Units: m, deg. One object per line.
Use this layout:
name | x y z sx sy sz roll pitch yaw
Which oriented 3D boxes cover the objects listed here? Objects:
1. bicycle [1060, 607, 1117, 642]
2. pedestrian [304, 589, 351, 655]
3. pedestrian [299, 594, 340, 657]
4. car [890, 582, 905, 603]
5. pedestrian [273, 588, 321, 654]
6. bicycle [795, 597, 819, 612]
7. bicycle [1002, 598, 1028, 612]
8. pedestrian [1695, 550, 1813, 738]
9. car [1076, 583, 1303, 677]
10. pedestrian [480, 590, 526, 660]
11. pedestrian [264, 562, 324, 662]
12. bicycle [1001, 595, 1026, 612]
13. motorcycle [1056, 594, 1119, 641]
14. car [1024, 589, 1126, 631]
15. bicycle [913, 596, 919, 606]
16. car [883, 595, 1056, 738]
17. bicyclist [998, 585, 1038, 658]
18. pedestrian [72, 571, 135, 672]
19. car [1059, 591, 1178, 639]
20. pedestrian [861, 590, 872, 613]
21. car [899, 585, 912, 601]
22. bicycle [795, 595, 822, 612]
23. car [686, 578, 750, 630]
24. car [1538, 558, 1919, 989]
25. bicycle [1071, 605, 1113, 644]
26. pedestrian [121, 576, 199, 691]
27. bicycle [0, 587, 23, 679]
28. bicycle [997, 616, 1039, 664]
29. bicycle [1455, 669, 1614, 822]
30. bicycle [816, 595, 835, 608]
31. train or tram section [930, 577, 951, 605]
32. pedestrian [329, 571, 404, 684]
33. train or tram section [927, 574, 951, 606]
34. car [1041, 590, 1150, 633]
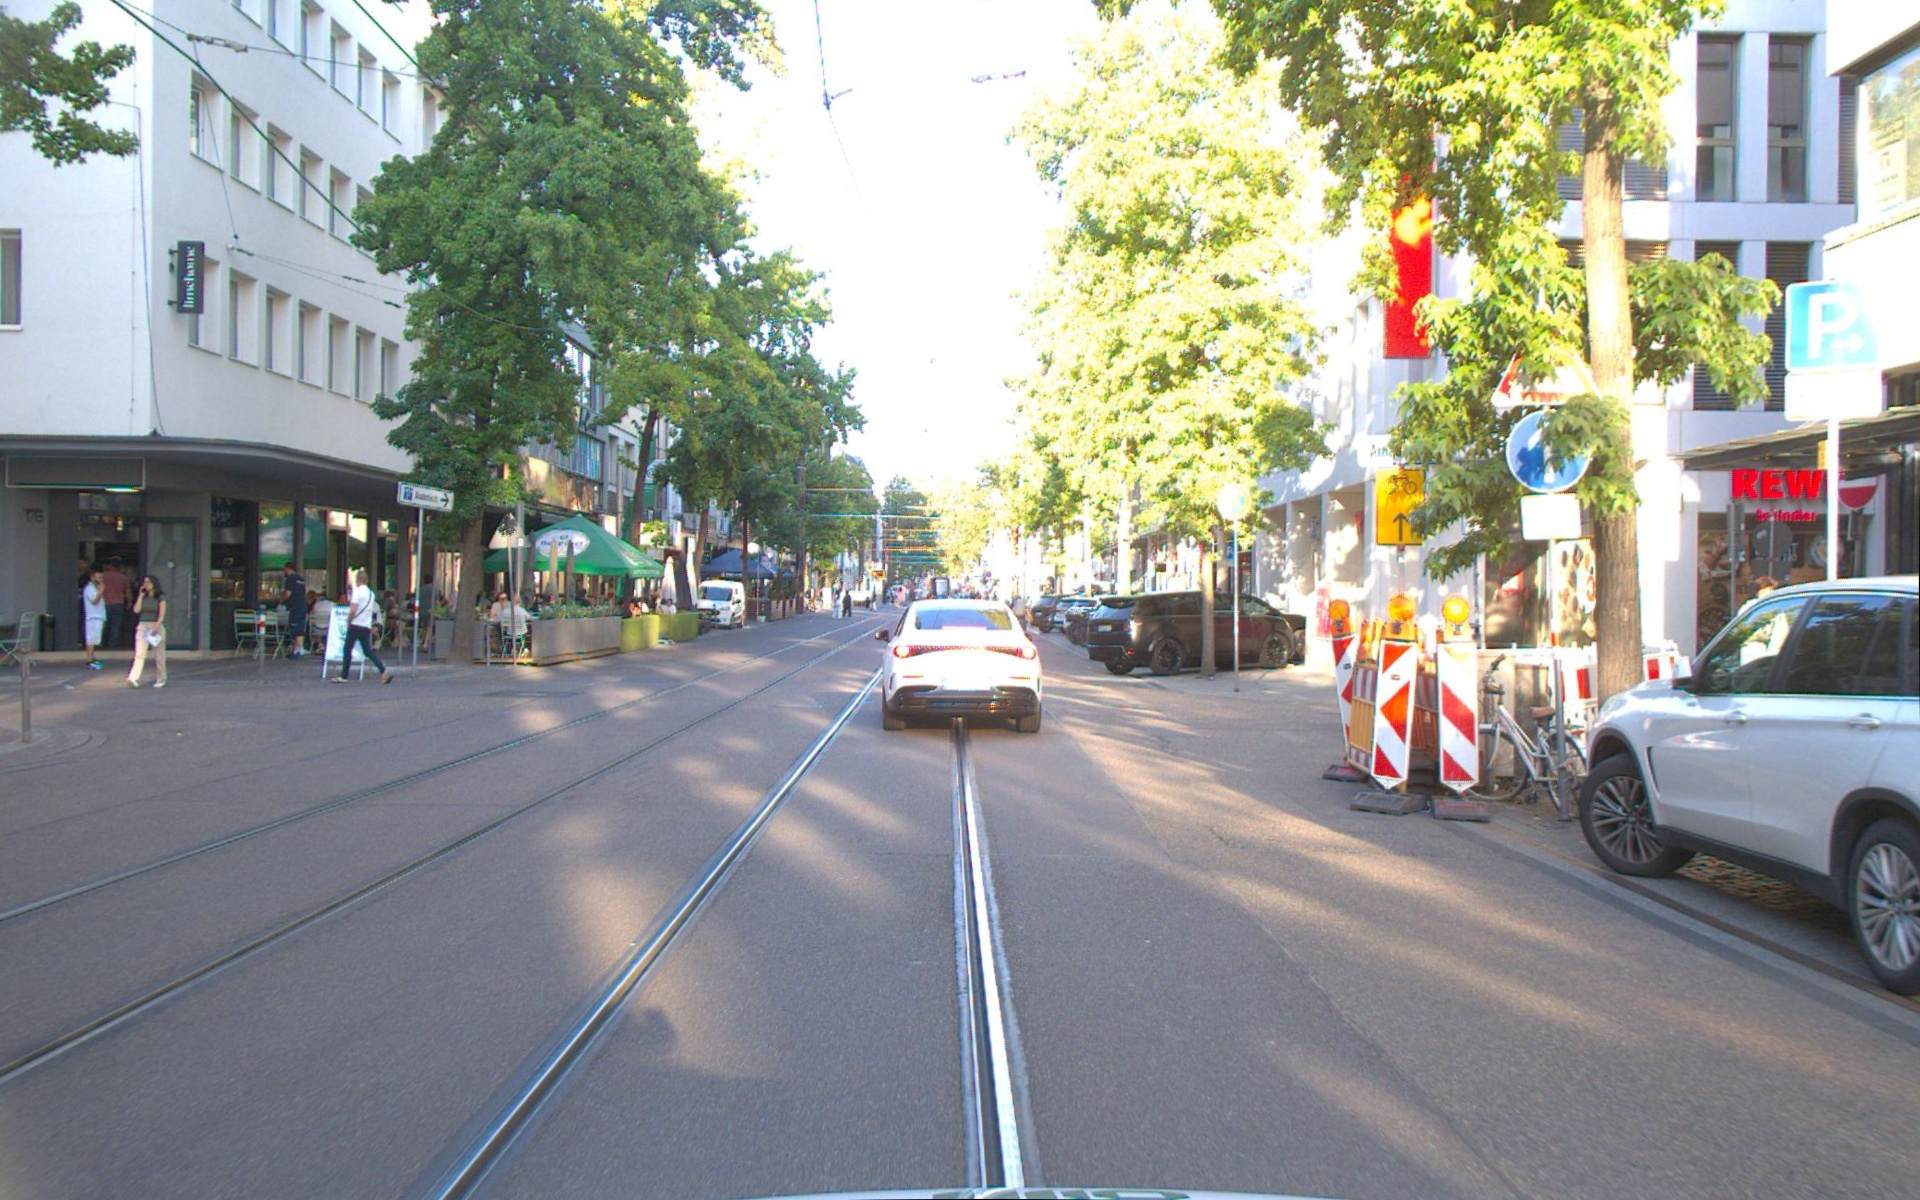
bicycle | 4.356 0.827 56.038 1.870 1.139 0.661 -2 0 -30
pedestrian | -12.777 0.443 33.444 0.614 1.304 0.727 2 0 0
pedestrian | -13.245 0.521 34.218 0.541 1.257 0.687 2 0 0
car | -9.101 -1.076 242.221 1.953 2.948 5.274 0 0 0
pedestrian | -13.425 0.417 33.512 0.631 1.291 0.738 2 0 0
bicycle | -10.179 0.328 110.138 1.562 0.947 0.377 2 0 6
bicycle | 4.453 0.384 134.153 2.076 1.115 0.608 1 0 -12
pedestrian | 8.419 0.454 17.569 0.816 1.930 0.918 -1 0 2
car | 4.981 0.610 35.734 4.603 1.794 1.974 -2 0 -30
pedestrian | -9.620 0.518 34.820 0.675 1.410 0.807 2 0 0
pedestrian | -12.683 0.223 31.517 0.670 1.847 0.764 2 0 15
bicycle | 4.243 0.279 131.166 1.874 1.303 0.608 -1 0 -12
motorcycle | 4.441 0.605 57.606 2.302 1.536 0.845 -2 -1 -45
car | 5.031 0.421 72.210 4.300 1.681 1.676 -2 0 -32
bicycle | -5.592 0.100 209.328 0.784 1.162 2.256 2 0 -2
car | 0.075 0.705 19.840 1.819 1.481 4.174 2 0 -1
bicyclist | 1.354 0.492 38.334 0.761 1.641 0.913 2 0 8
pedestrian | -14.368 0.351 27.753 0.783 1.642 0.862 1 2 -17
car | 5.849 0.521 60.834 4.110 1.598 1.832 -2 1 -34
pedestrian | -7.325 0.107 130.020 0.771 1.832 0.844 1 0 0
car | -8.521 -1.109 260.806 1.871 2.504 5.274 0 0 0
bicycle | -10.386 0.236 113.398 1.754 1.096 0.377 2 0 -5
car | -9.703 0.141 66.570 1.759 1.897 4.554 3 0 0
car | 4.862 0.676 8.351 1.982 1.768 4.905 -2 0 -2
bicycle | 4.322 0.802 54.089 0.472 1.183 1.687 -3 0 39
pedestrian | -11.999 0.480 24.837 0.692 1.685 0.967 0 1 1
bicycle | -15.791 0.503 25.887 1.835 1.404 0.713 1 3 1
bicycle | 1.370 0.916 38.566 0.703 1.012 2.060 2 0 8
bicycle | 4.370 1.072 12.712 0.483 0.999 1.929 0 0 -2
bicycle | -10.817 0.117 132.738 1.466 1.047 0.344 2 0 -11
train or tram section | -2.573 -1.213 216.027 2.639 3.578 11.142 0 0 -1
pedestrian | -9.571 0.425 26.683 0.779 1.771 0.867 1 1 15
train or tram section | -2.388 -1.106 191.636 2.639 3.578 12.543 0 0 0
car | 5.614 0.470 68.250 4.194 1.615 1.864 -2 0 -32
